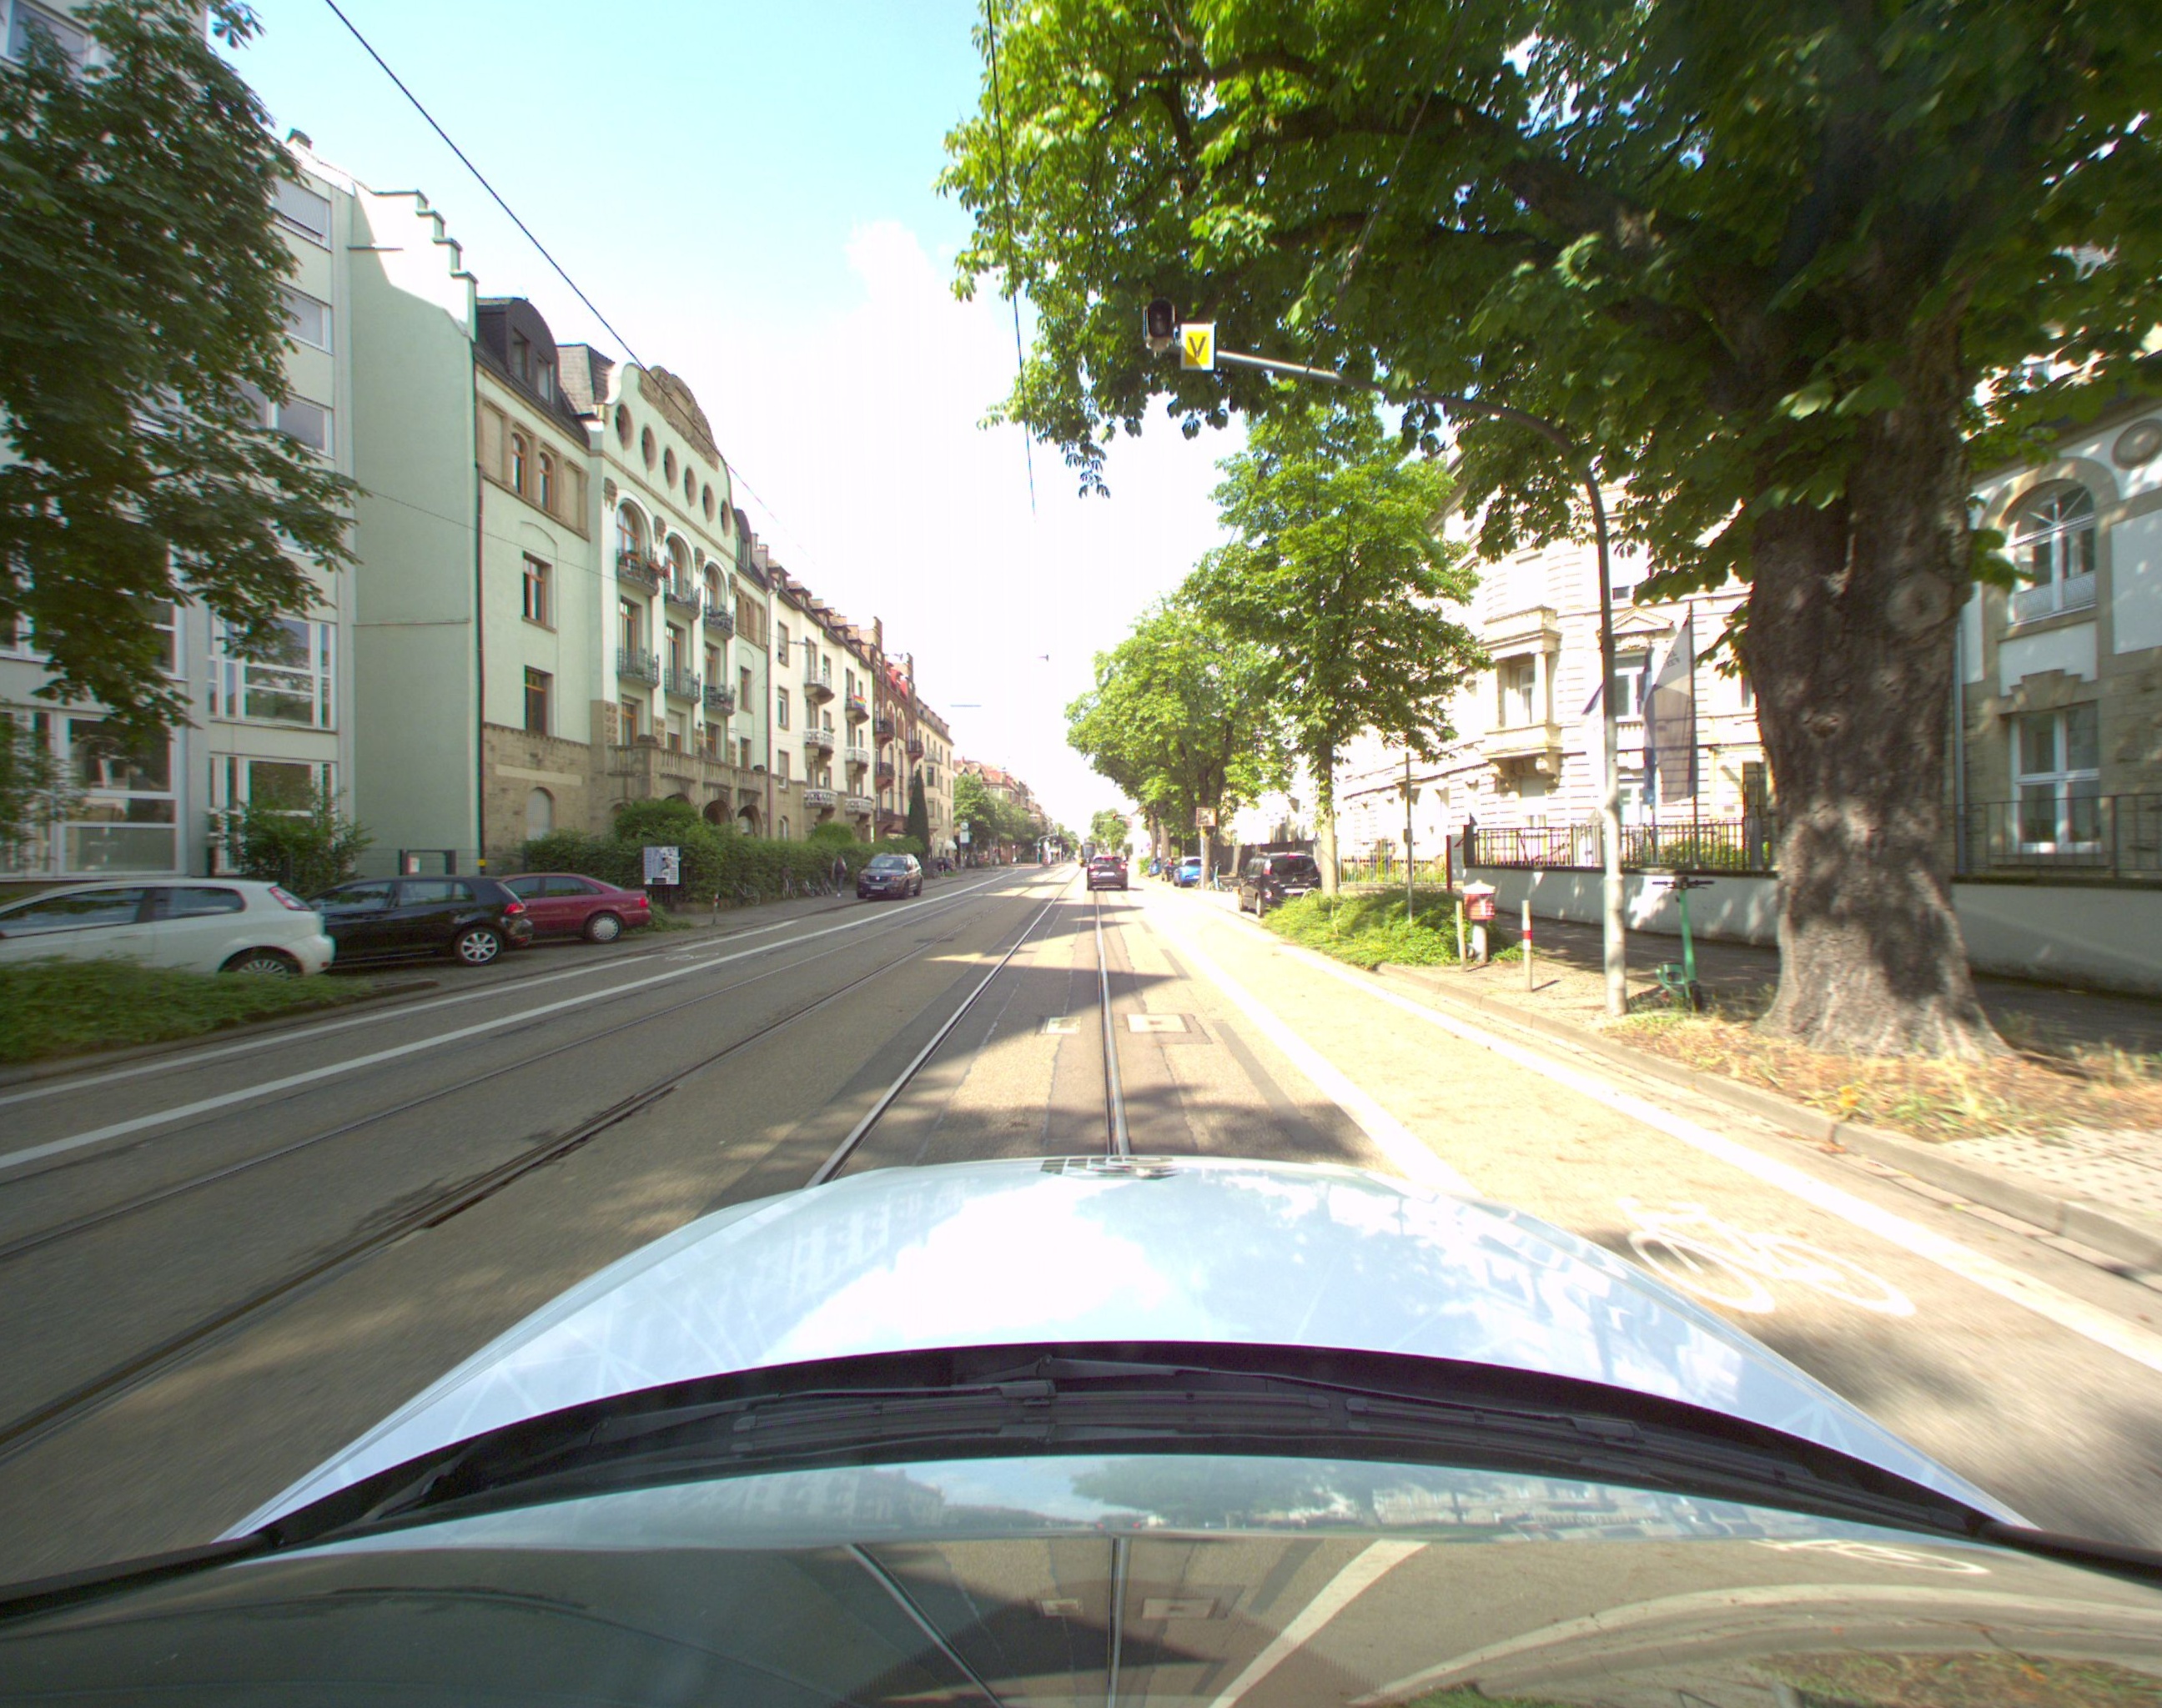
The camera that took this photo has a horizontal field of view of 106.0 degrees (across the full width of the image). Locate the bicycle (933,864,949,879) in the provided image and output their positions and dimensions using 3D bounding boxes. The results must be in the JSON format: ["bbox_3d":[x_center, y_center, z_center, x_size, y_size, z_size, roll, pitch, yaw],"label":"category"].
[{"bbox_3d":[-9.613,1.226,55.879,0.508,0.959,1.818,2,-2,8],"label":"bicycle"}]

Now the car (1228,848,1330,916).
[{"bbox_3d":[5.271,0.714,22.212,1.691,1.591,4.201,-2,-1,-1],"label":"car"}]

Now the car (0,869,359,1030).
[{"bbox_3d":[-10.948,1.033,9.369,1.676,1.484,3.830,-3,0,45],"label":"car"}]

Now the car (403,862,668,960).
[{"bbox_3d":[-10.470,1.008,15.795,3.993,1.484,1.824,-3,0,-43],"label":"car"}]

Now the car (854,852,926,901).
[{"bbox_3d":[-7.438,0.807,32.197,1.780,1.762,4.879,-1,0,-2],"label":"car"}]

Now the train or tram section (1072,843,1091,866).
[{"bbox_3d":[0.035,0.179,130.703,2.645,3.528,8.488,-1,-1,-2],"label":"train or tram section"}]

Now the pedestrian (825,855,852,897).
[{"bbox_3d":[-9.313,0.827,31.306,0.677,1.568,0.882,1,-1,3],"label":"pedestrian"}]

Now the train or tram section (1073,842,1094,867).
[{"bbox_3d":[0.356,0.092,122.233,2.645,3.528,8.488,-1,-1,-2],"label":"train or tram section"}]

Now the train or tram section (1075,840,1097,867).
[{"bbox_3d":[0.690,0.008,113.711,2.645,3.528,8.488,-1,-1,-2],"label":"train or tram section"}]

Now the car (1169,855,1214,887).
[{"bbox_3d":[5.502,0.813,40.941,1.635,1.496,3.625,-2,0,-1],"label":"car"}]

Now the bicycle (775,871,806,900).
[{"bbox_3d":[-10.218,1.094,28.704,0.381,0.959,1.811,1,0,2],"label":"bicycle"}]

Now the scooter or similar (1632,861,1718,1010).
[{"bbox_3d":[5.537,0.716,7.640,0.338,1.237,1.267,-4,-1,25],"label":"scooter or similar"}]

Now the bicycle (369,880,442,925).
[{"bbox_3d":[-17.477,1.232,21.118,0.382,1.064,1.809,1,0,-1],"label":"bicycle"}]

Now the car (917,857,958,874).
[{"bbox_3d":[-12.947,1.038,73.572,3.222,1.513,1.680,1,-1,3],"label":"car"}]

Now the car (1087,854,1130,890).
[{"bbox_3d":[1.191,0.756,36.673,1.784,1.512,4.350,0,0,0],"label":"car"}]

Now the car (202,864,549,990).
[{"bbox_3d":[-10.671,1.014,12.663,3.827,1.484,1.678,-3,0,-39],"label":"car"}]

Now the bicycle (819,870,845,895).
[{"bbox_3d":[-10.054,1.138,32.934,0.381,0.959,1.922,1,0,2],"label":"bicycle"}]

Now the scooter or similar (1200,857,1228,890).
[{"bbox_3d":[5.539,0.810,34.008,0.443,1.299,1.171,-4,2,-30],"label":"scooter or similar"}]

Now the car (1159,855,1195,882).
[{"bbox_3d":[5.714,0.836,48.854,1.635,1.496,3.755,-2,0,-1],"label":"car"}]

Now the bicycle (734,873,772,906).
[{"bbox_3d":[-10.293,1.096,25.598,0.381,0.959,1.811,1,0,2],"label":"bicycle"}]

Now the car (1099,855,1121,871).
[{"bbox_3d":[2.810,0.852,80.105,1.780,1.492,4.879,-1,0,-2],"label":"car"}]

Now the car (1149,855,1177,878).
[{"bbox_3d":[5.911,0.894,59.166,1.618,1.496,3.848,-3,0,1],"label":"car"}]

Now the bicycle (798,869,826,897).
[{"bbox_3d":[-10.167,1.085,30.796,0.381,0.959,1.811,1,0,2],"label":"bicycle"}]
